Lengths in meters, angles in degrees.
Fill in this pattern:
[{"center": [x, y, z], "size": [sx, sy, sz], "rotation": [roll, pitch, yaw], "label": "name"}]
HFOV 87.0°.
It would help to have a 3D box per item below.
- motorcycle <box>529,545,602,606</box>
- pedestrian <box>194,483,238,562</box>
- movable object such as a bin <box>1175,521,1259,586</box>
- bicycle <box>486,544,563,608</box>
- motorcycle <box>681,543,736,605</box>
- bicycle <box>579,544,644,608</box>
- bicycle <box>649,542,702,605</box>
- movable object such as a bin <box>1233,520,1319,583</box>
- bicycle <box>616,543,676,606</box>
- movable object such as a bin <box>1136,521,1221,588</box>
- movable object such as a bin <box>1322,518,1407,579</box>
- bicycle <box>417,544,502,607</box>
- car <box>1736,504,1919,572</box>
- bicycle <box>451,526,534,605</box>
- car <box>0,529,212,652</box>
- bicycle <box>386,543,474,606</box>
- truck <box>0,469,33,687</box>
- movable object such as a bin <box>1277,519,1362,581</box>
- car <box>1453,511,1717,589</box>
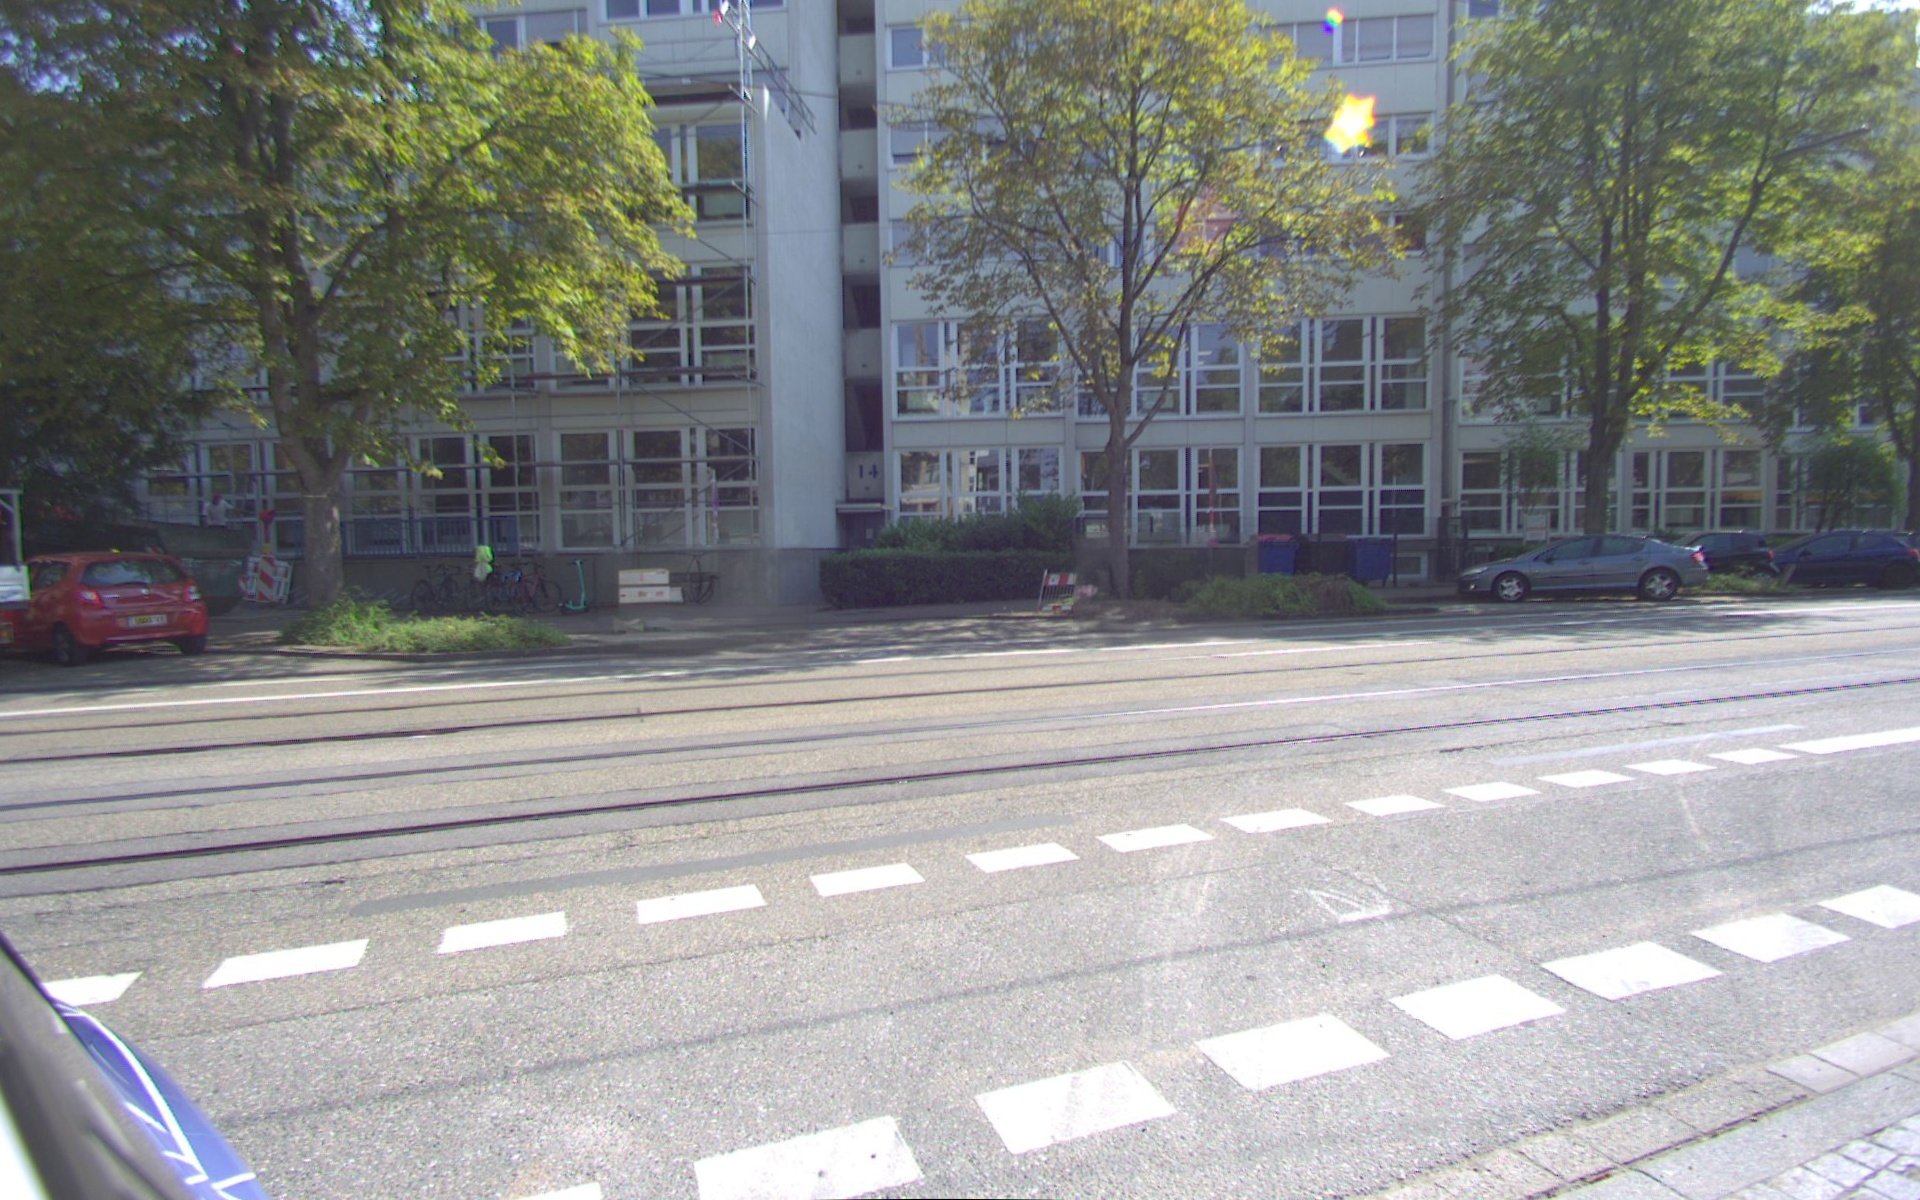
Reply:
[{"center": [-8.343, -0.554, 21.492], "size": [0.733, 1.163, 2.007], "rotation": [0, 5, 0], "label": "motorcycle"}, {"center": [-17.480, -1.814, 23.768], "size": [0.728, 1.800, 0.831], "rotation": [-4, 4, -37], "label": "pedestrian"}, {"center": [6.543, -1.200, 25.881], "size": [1.331, 1.570, 1.694], "rotation": [-2, 3, -21], "label": "movable object such as a bin"}, {"center": [-9.113, -0.539, 21.285], "size": [0.593, 1.177, 2.347], "rotation": [0, 5, 0], "label": "bicycle"}, {"center": [-5.312, -0.581, 21.481], "size": [0.685, 1.191, 1.846], "rotation": [0, 5, 0], "label": "motorcycle"}, {"center": [-7.300, -0.537, 21.324], "size": [0.613, 1.177, 2.348], "rotation": [-1, 5, -2], "label": "bicycle"}, {"center": [-5.979, -0.587, 21.364], "size": [0.554, 1.177, 2.349], "rotation": [-1, 5, -3], "label": "bicycle"}, {"center": [8.155, -1.258, 26.180], "size": [1.331, 1.570, 1.694], "rotation": [-2, 3, -21], "label": "movable object such as a bin"}, {"center": [-6.590, -0.577, 21.366], "size": [0.613, 1.177, 2.348], "rotation": [-1, 5, -3], "label": "bicycle"}, {"center": [5.371, -1.135, 24.976], "size": [1.331, 1.570, 1.694], "rotation": [-2, 3, -21], "label": "movable object such as a bin"}, {"center": [10.904, -1.384, 27.336], "size": [1.331, 1.570, 1.694], "rotation": [-2, 3, -21], "label": "movable object such as a bin"}, {"center": [-10.492, -0.549, 21.305], "size": [0.593, 1.168, 2.347], "rotation": [0, 5, 0], "label": "bicycle"}, {"center": [21.832, -1.549, 25.327], "size": [3.572, 1.586, 1.660], "rotation": [1, 4, 29], "label": "car"}, {"center": [-9.778, -0.767, 21.272], "size": [0.593, 1.536, 2.347], "rotation": [0, 5, 0], "label": "bicycle"}, {"center": [-12.508, -0.171, 14.186], "size": [3.841, 1.519, 1.705], "rotation": [0, 3, 27], "label": "car"}, {"center": [-11.111, -0.563, 21.315], "size": [0.593, 1.168, 2.347], "rotation": [0, 5, 0], "label": "bicycle"}, {"center": [-13.794, -0.263, 12.288], "size": [5.949, 2.452, 2.128], "rotation": [1, 4, 32], "label": "truck"}, {"center": [9.532, -1.327, 26.866], "size": [1.331, 1.570, 1.694], "rotation": [-2, 3, -21], "label": "movable object such as a bin"}, {"center": [13.346, -1.065, 21.965], "size": [4.660, 1.462, 1.664], "rotation": [-1, 3, 24], "label": "car"}]
